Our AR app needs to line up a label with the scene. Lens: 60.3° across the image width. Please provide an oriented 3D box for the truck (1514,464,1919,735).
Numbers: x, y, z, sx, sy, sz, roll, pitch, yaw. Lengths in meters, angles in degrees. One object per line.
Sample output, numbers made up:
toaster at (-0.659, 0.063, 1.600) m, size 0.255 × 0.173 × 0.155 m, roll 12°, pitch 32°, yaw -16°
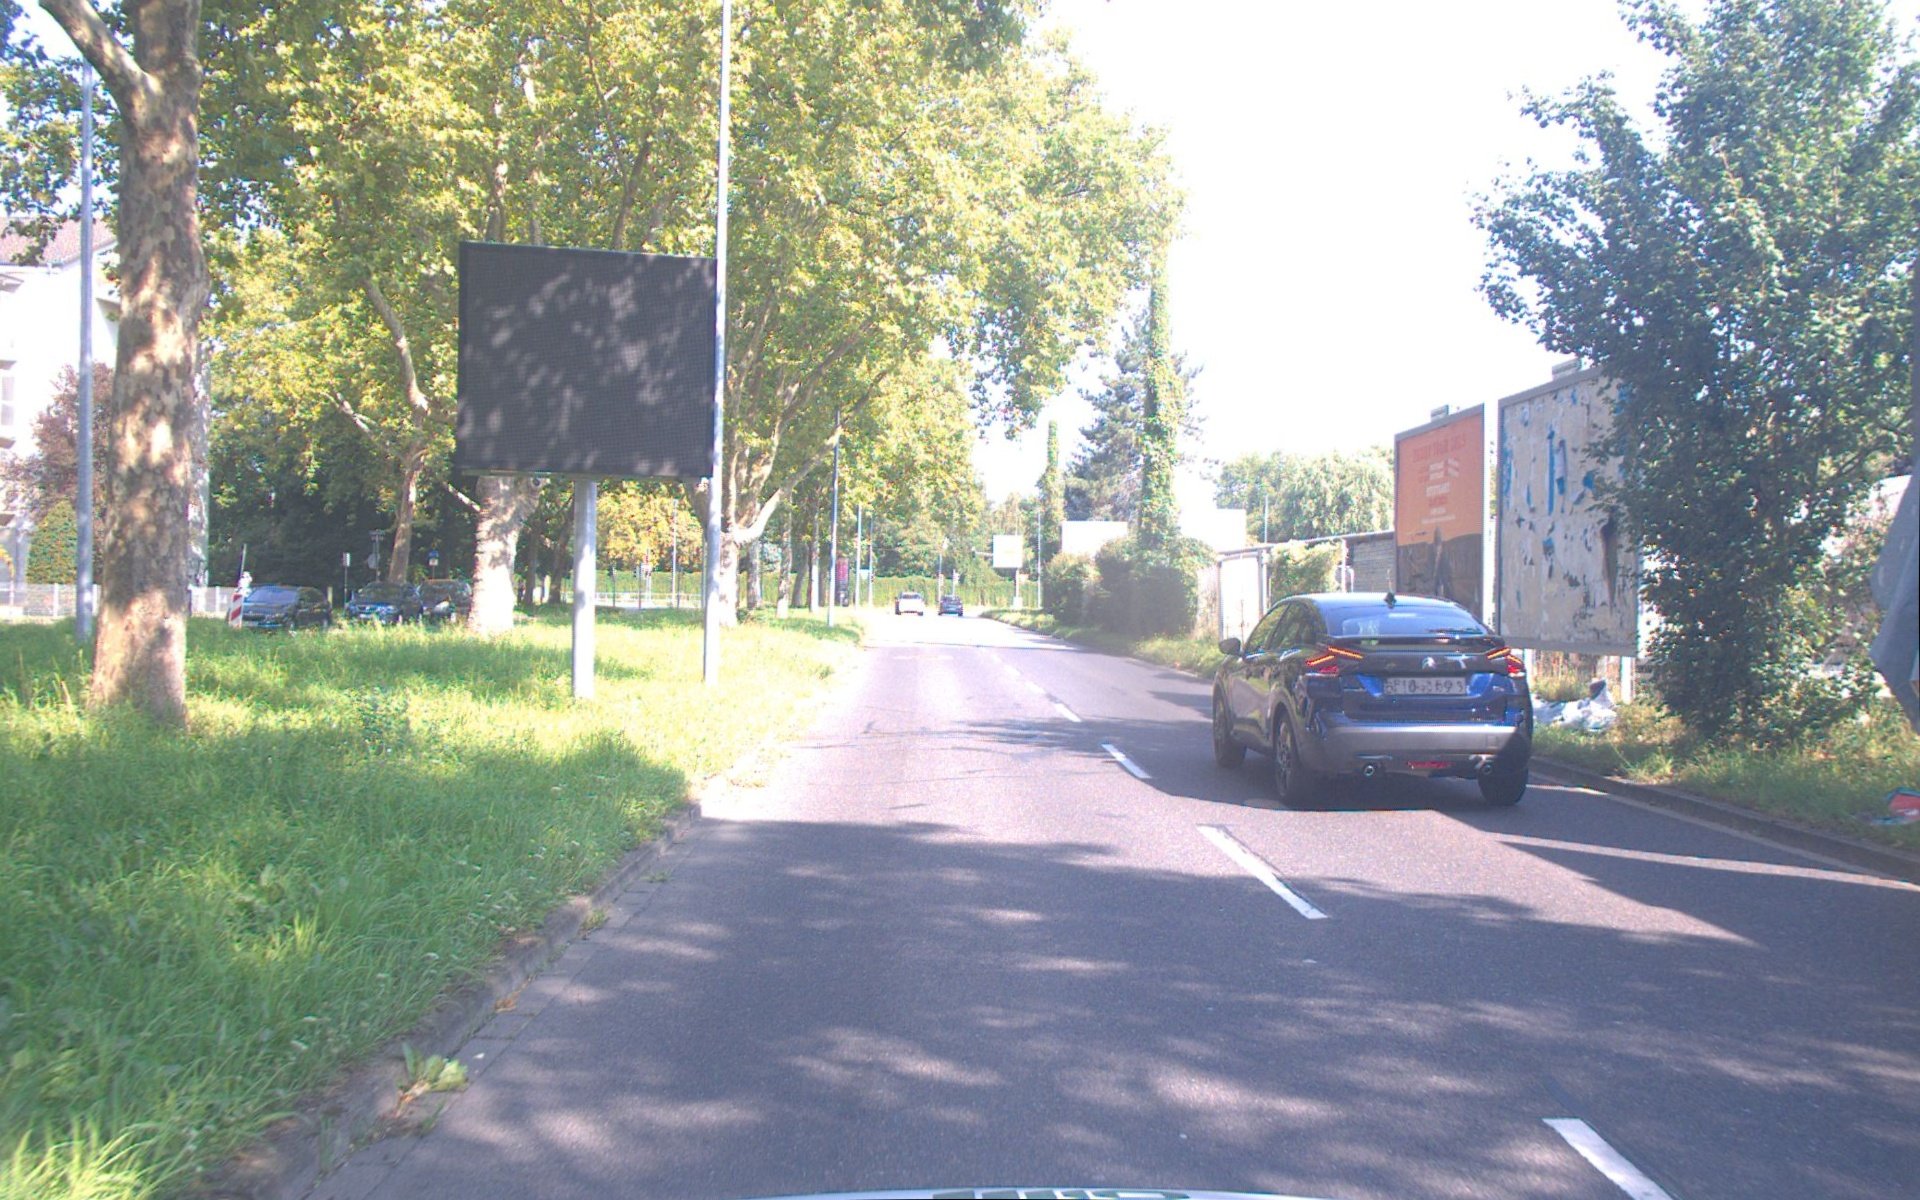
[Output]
truck at (7.997, 0.022, 17.508) m, size 1.875 × 2.272 × 6.912 m, roll 1°, pitch 0°, yaw 0°

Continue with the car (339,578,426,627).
car at (-19.981, 0.089, 57.403) m, size 1.665 × 1.595 × 3.999 m, roll 1°, pitch 0°, yaw -1°

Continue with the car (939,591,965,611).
car at (-0.601, 0.080, 120.461) m, size 1.761 × 1.426 × 3.998 m, roll 1°, pitch 0°, yaw -2°

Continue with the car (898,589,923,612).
car at (-3.329, 0.049, 111.710) m, size 1.653 × 1.487 × 3.999 m, roll 1°, pitch 0°, yaw -1°

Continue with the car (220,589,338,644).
car at (-20.012, 0.462, 48.800) m, size 1.665 × 1.534 × 4.539 m, roll 1°, pitch 0°, yaw -1°

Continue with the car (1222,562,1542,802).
car at (3.184, 0.563, 13.297) m, size 1.611 × 1.616 × 4.255 m, roll 0°, pitch 0°, yaw 2°

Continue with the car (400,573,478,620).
car at (-20.470, -0.114, 65.169) m, size 1.665 × 1.762 × 4.658 m, roll 1°, pitch 0°, yaw -1°
